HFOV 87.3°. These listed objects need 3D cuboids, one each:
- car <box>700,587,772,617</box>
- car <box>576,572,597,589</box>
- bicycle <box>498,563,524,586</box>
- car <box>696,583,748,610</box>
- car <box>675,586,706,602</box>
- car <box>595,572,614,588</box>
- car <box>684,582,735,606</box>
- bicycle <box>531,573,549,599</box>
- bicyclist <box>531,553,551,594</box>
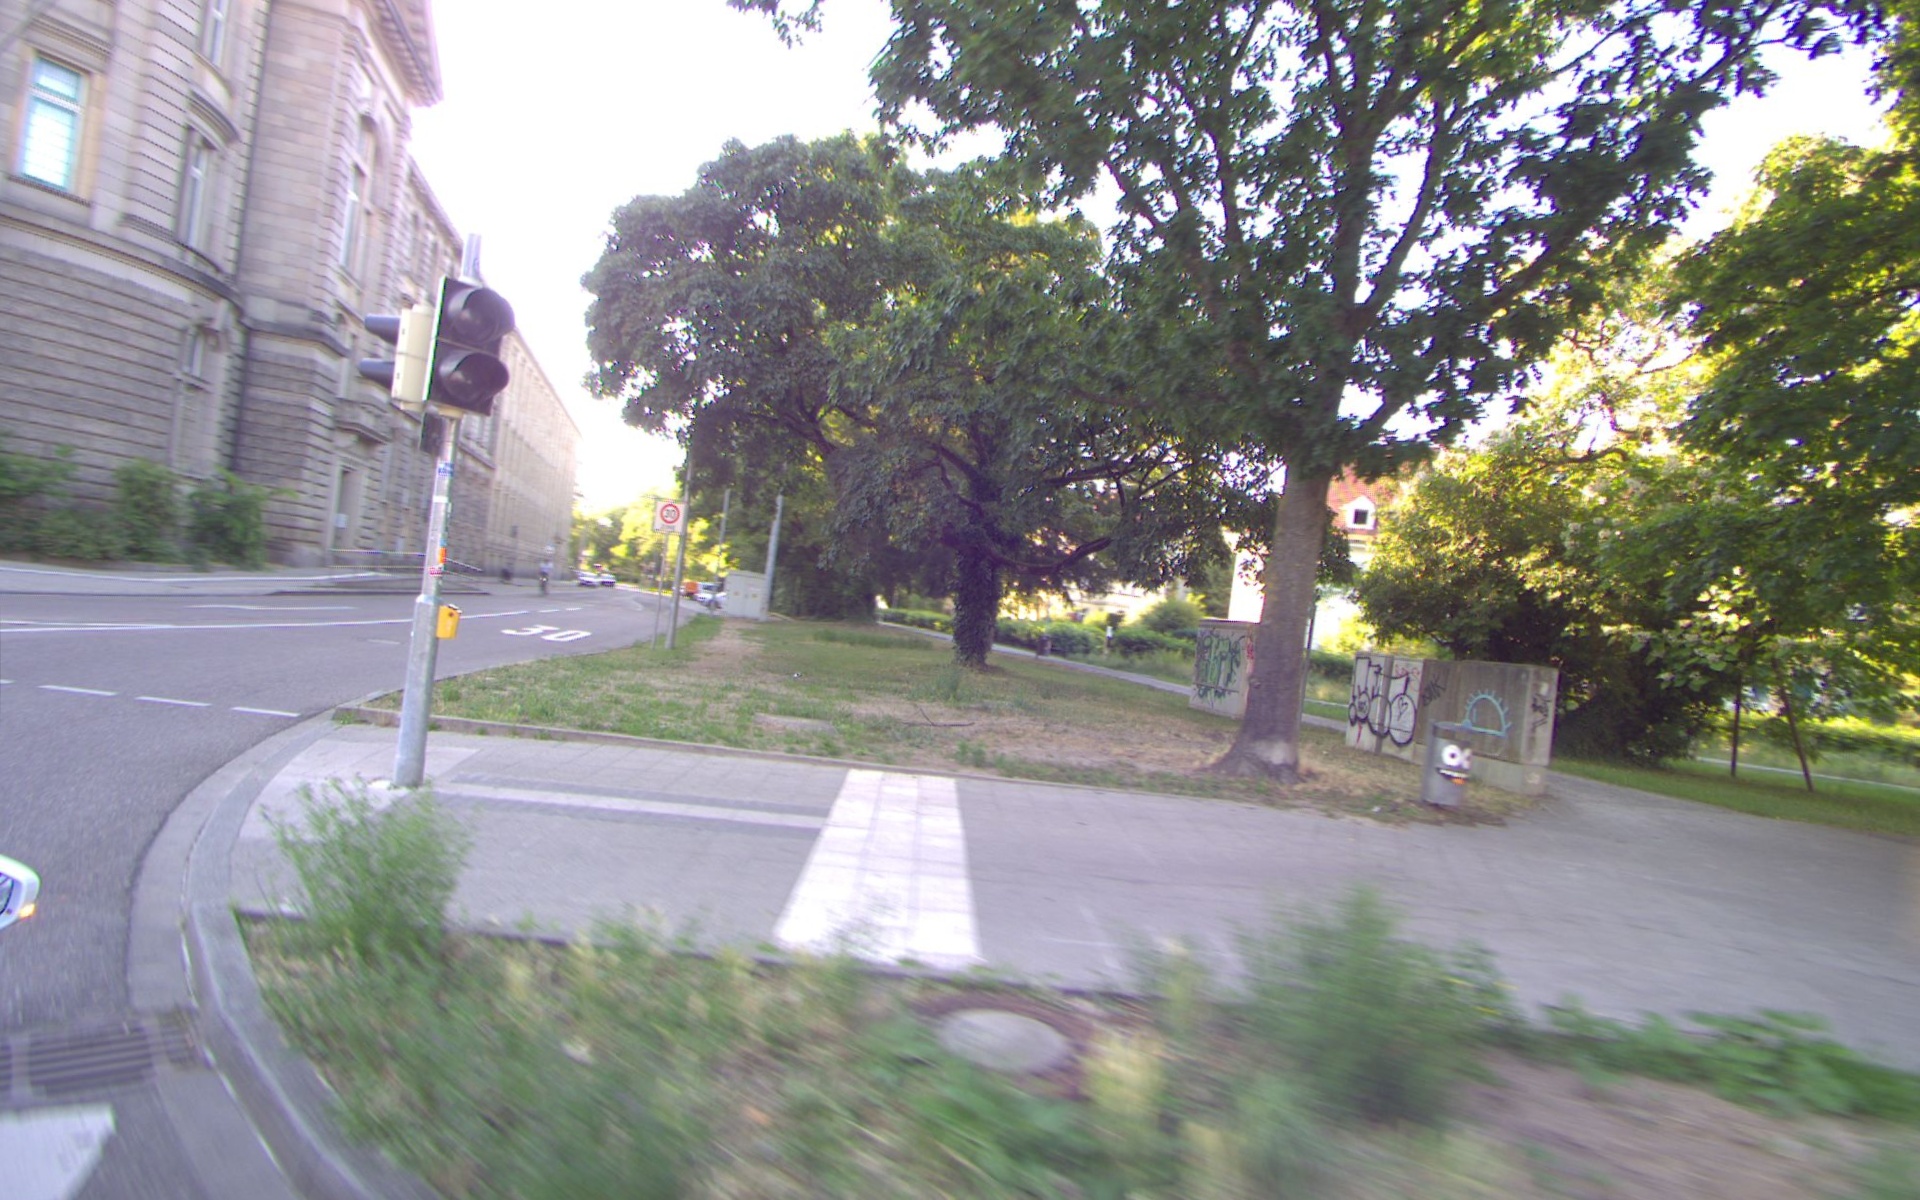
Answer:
[{"bbox_3d":[-14.744,0.131,66.211,4.389,1.487,1.776,7,-1,-18],"label":"car"},{"bbox_3d":[-36.856,-1.936,99.296,1.709,1.413,4.355,8,-1,-19],"label":"car"},{"bbox_3d":[-25.649,-1.436,57.475,0.842,1.114,1.978,9,-1,-12],"label":"bicycle"},{"bbox_3d":[-20.731,-0.322,87.665,4.177,1.882,1.994,6,-1,-16],"label":"car"},{"bbox_3d":[-30.971,-0.715,115.600,3.112,1.521,1.532,6,0,-24],"label":"car"},{"bbox_3d":[-40.997,-2.316,116.155,1.858,1.484,4.354,8,-1,-19],"label":"car"},{"bbox_3d":[-26.350,-0.660,105.856,4.769,2.038,1.792,6,0,-24],"label":"car"},{"bbox_3d":[-19.690,-0.664,47.174,0.656,1.083,2.142,7,-1,-22],"label":"bicycle"},{"bbox_3d":[-19.551,-1.230,46.948,0.638,1.829,0.776,7,0,-23],"label":"bicyclist"}]
